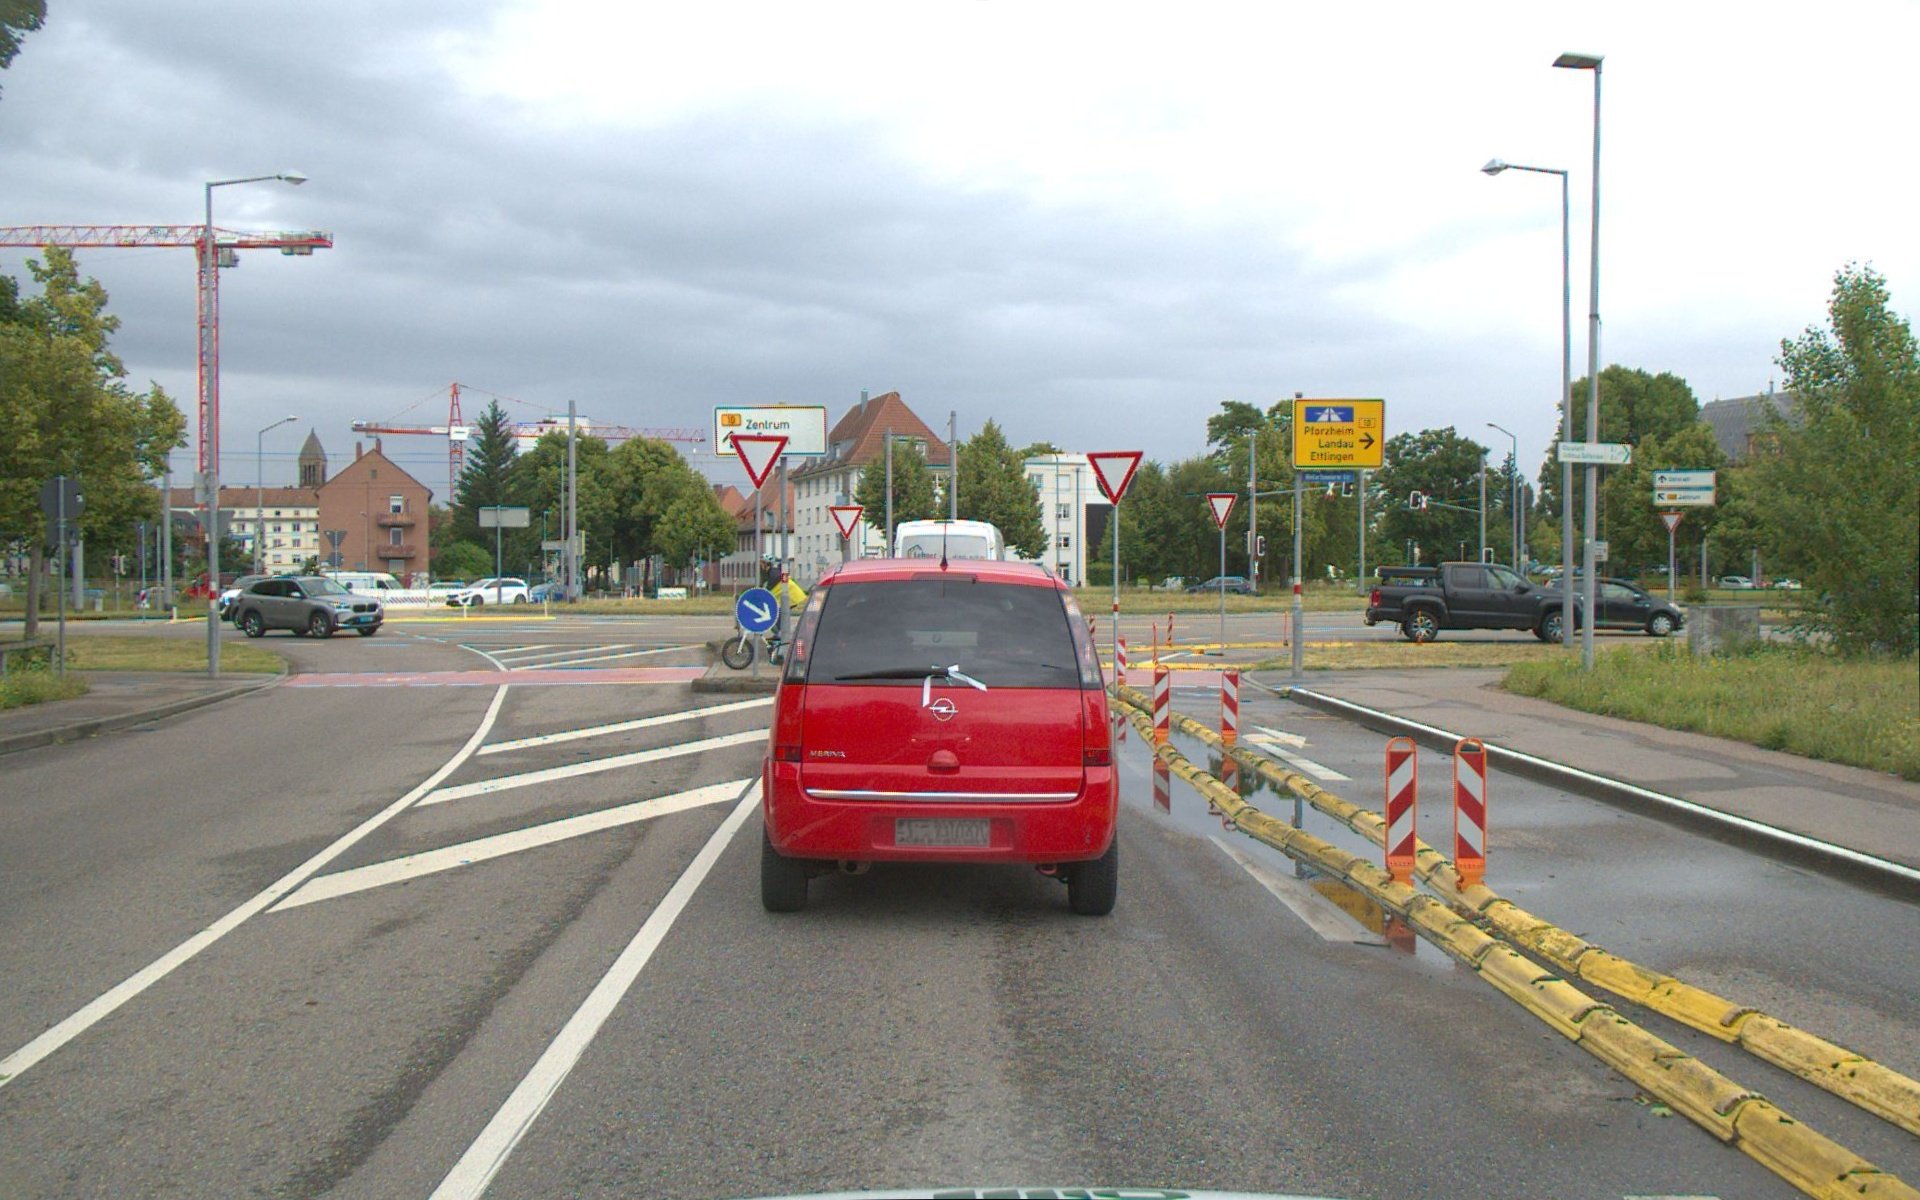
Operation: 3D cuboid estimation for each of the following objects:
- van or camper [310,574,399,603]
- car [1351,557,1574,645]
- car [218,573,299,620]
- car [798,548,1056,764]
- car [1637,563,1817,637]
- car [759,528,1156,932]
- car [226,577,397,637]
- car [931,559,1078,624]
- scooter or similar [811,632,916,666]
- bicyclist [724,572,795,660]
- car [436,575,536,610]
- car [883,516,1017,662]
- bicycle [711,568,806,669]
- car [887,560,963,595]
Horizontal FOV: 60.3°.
[{"bbox_3d":[-45.377,-0.863,123.985,6.045,2.049,2.002,0,1,9],"label":"van or camper"},{"bbox_3d":[11.798,0.020,39.227,4.918,2.006,2.226,0,1,13],"label":"car"},{"bbox_3d":[-27.191,-0.161,64.211,1.895,1.713,4.181,-1,1,-9],"label":"car"},{"bbox_3d":[-0.301,0.413,15.343,2.018,1.676,4.606,1,1,-1],"label":"car"},{"bbox_3d":[20.297,-0.019,43.859,3.931,1.881,1.987,0,1,43],"label":"car"},{"bbox_3d":[-0.044,0.522,8.735,1.639,1.669,3.626,1,1,-1],"label":"car"},{"bbox_3d":[-18.048,0.182,46.011,4.429,1.610,1.998,0,1,27],"label":"car"},{"bbox_3d":[1.347,-0.252,48.939,4.105,1.845,2.080,0,1,9],"label":"car"},{"bbox_3d":[-1.571,0.798,27.120,1.573,0.513,0.925,0,1,8],"label":"scooter or similar"},{"bbox_3d":[-3.314,0.256,27.362,1.039,1.426,0.615,0,1,6],"label":"bicyclist"},{"bbox_3d":[-23.830,-0.399,83.306,1.960,1.663,4.657,0,1,36],"label":"car"},{"bbox_3d":[-0.099,-0.231,32.113,2.149,2.584,4.965,1,1,5],"label":"car"},{"bbox_3d":[-3.332,0.303,27.358,1.446,1.640,0.606,0,0,6],"label":"bicycle"},{"bbox_3d":[-2.111,-1.348,98.542,4.380,2.049,1.997,-1,1,-7],"label":"car"}]
